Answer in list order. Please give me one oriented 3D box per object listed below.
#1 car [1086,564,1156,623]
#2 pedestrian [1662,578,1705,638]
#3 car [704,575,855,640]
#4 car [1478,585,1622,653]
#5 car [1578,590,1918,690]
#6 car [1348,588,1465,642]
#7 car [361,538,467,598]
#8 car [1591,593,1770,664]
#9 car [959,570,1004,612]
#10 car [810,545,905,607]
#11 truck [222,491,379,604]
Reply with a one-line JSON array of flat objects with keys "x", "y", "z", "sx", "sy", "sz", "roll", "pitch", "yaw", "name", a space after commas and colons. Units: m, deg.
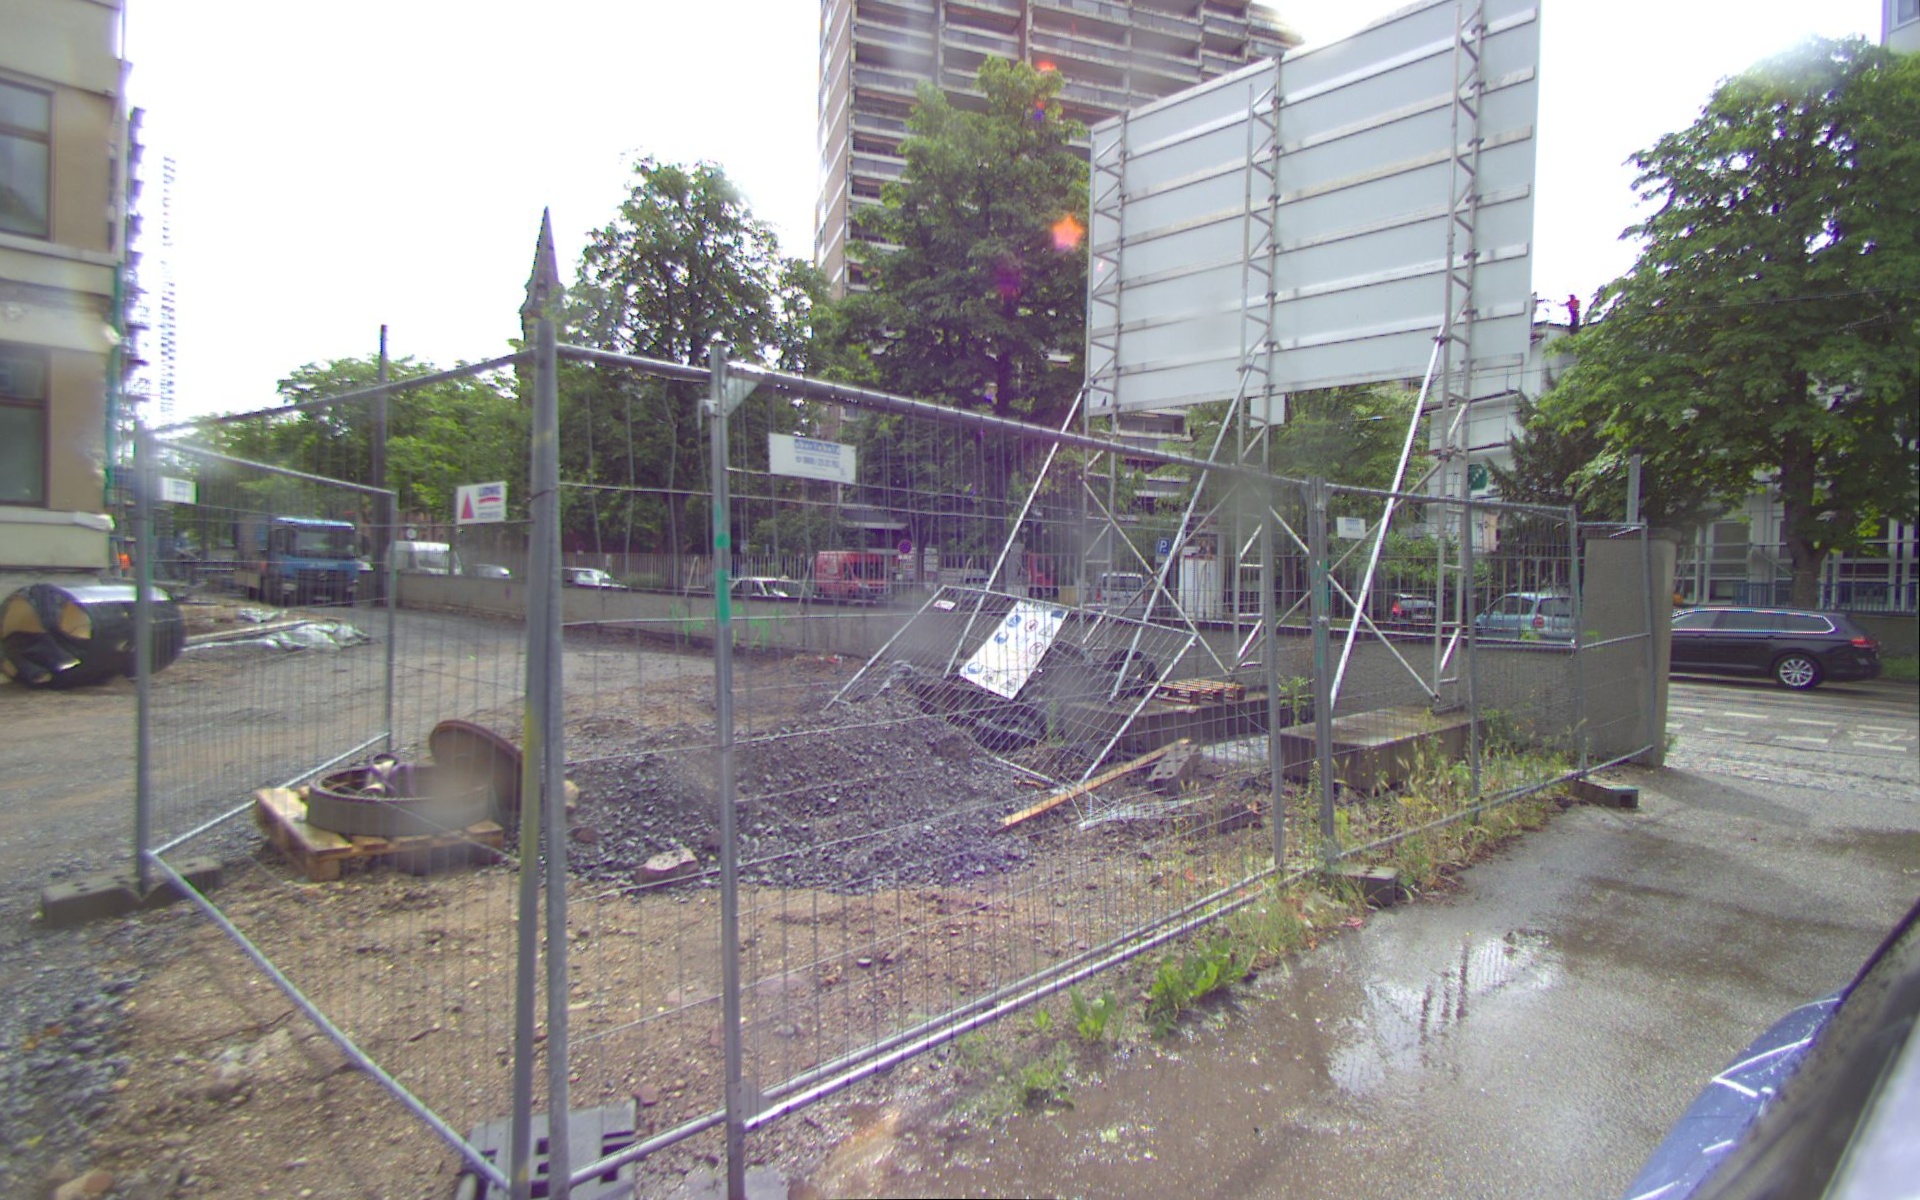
[{"x": 5.780, "y": -0.269, "z": 36.832, "sx": 1.903, "sy": 1.920, "sz": 4.643, "roll": 2, "pitch": 1, "yaw": 3, "name": "car"}, {"x": 22.137, "y": 0.248, "z": 30.969, "sx": 0.695, "sy": 1.765, "sz": 0.838, "roll": 2, "pitch": -1, "yaw": 5, "name": "pedestrian"}, {"x": -4.590, "y": 0.157, "z": 25.411, "sx": 1.858, "sy": 1.489, "sz": 3.991, "roll": 3, "pitch": -1, "yaw": -43, "name": "car"}, {"x": 15.275, "y": 0.442, "z": 26.446, "sx": 1.677, "sy": 1.570, "sz": 3.648, "roll": 2, "pitch": 1, "yaw": 2, "name": "car"}, {"x": 14.352, "y": 0.652, "z": 18.640, "sx": 4.750, "sy": 1.499, "sz": 1.967, "roll": 2, "pitch": 0, "yaw": 45, "name": "car"}, {"x": 13.016, "y": 0.390, "z": 29.724, "sx": 1.736, "sy": 1.414, "sz": 3.651, "roll": 2, "pitch": 1, "yaw": -1, "name": "car"}, {"x": -25.249, "y": -1.451, "z": 46.673, "sx": 6.135, "sy": 2.505, "sz": 2.554, "roll": 1, "pitch": -1, "yaw": 45, "name": "car"}, {"x": 17.195, "y": 0.614, "z": 24.377, "sx": 1.709, "sy": 1.488, "sz": 3.649, "roll": 2, "pitch": 1, "yaw": 1, "name": "car"}, {"x": 0.855, "y": -0.426, "z": 42.677, "sx": 1.752, "sy": 1.584, "sz": 4.048, "roll": 2, "pitch": 3, "yaw": 0, "name": "car"}, {"x": -4.868, "y": -1.145, "z": 47.199, "sx": 2.256, "sy": 2.666, "sz": 5.490, "roll": 2, "pitch": 1, "yaw": -30, "name": "car"}, {"x": -24.639, "y": -1.778, "z": 37.497, "sx": 3.187, "sy": 3.572, "sz": 9.890, "roll": 3, "pitch": -1, "yaw": -43, "name": "truck"}]
